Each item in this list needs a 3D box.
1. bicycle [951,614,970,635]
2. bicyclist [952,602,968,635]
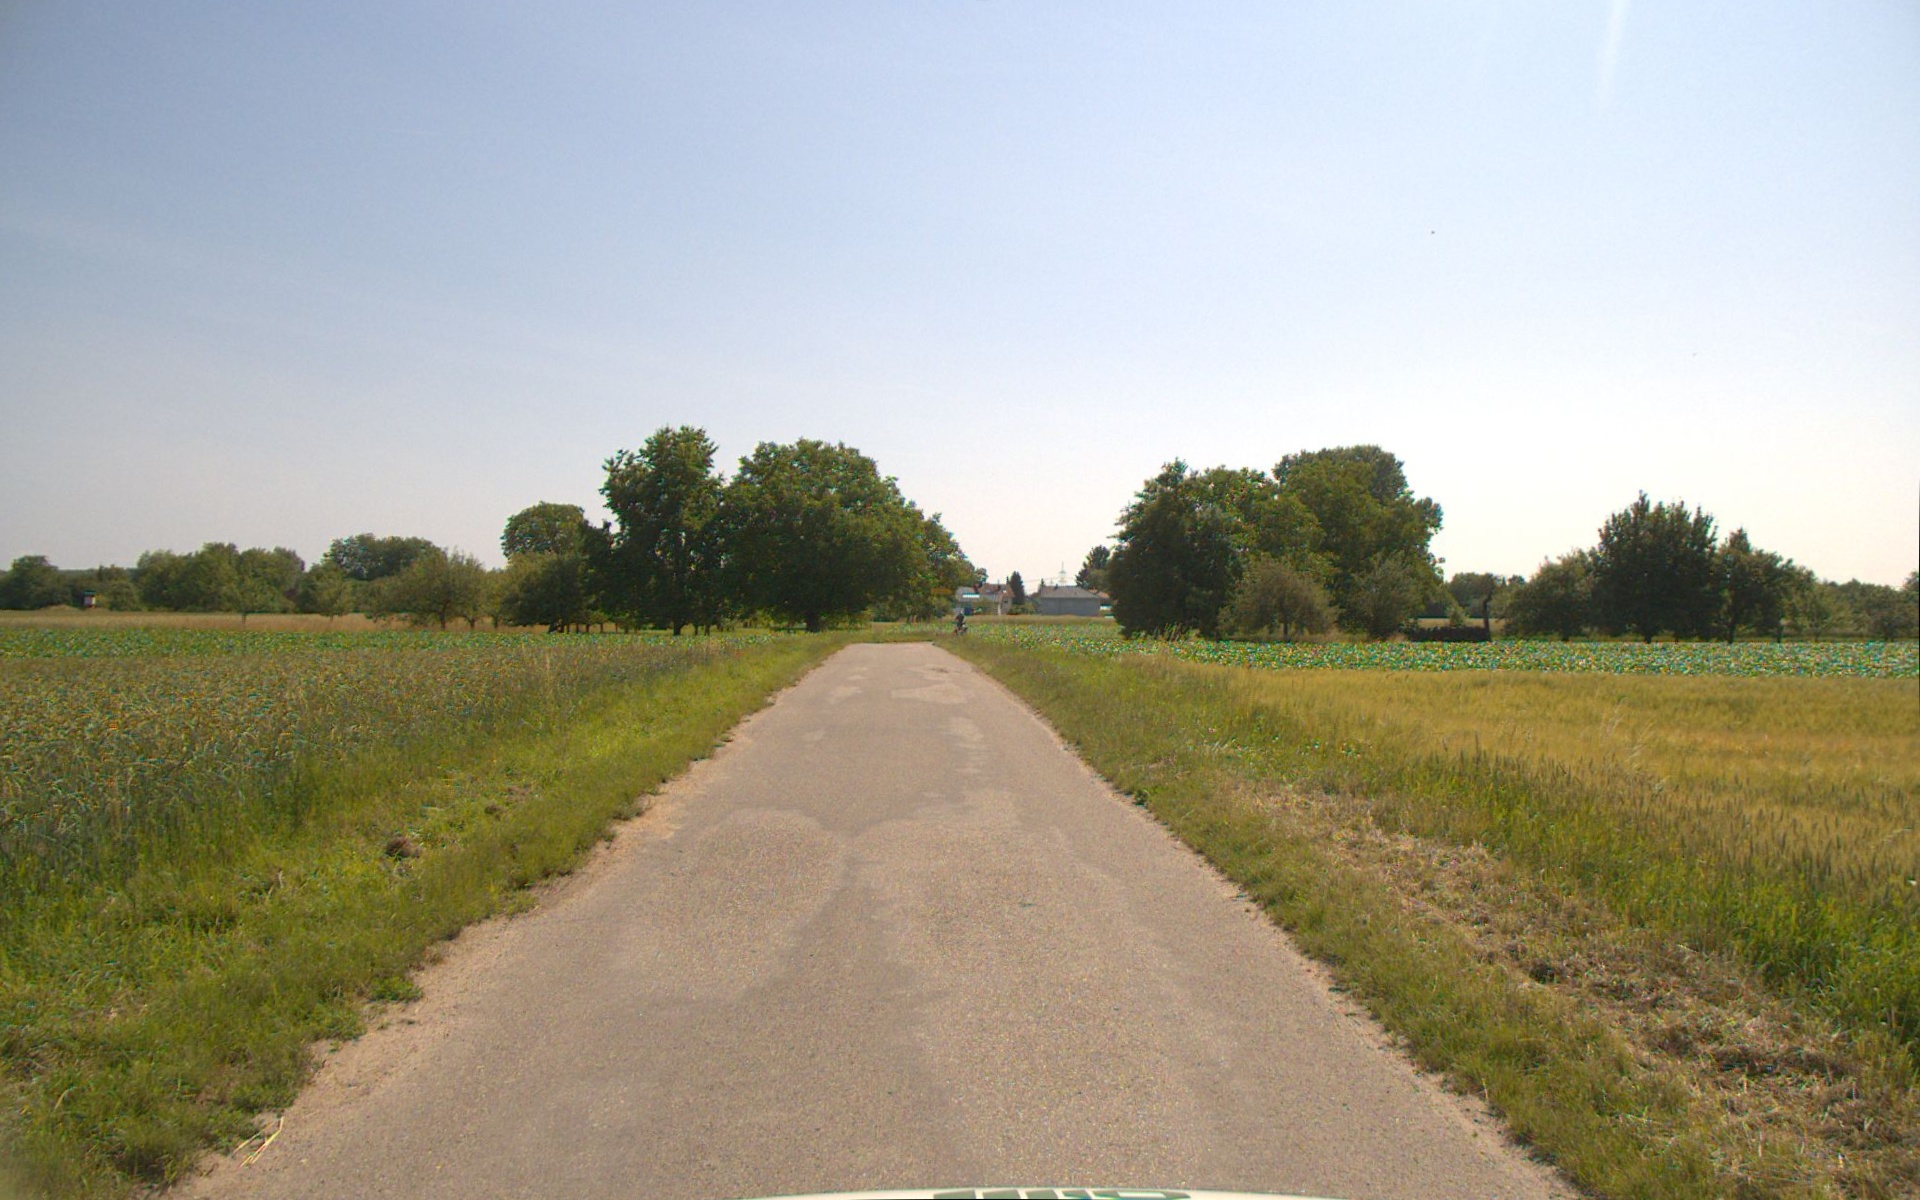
[{"bbox_3d":[0.030,1.376,92.443,0.734,1.147,1.910,-2,-1,10],"label":"bicycle"},{"bbox_3d":[0.026,1.048,92.452,0.734,1.823,0.717,-2,-1,10],"label":"bicyclist"}]
